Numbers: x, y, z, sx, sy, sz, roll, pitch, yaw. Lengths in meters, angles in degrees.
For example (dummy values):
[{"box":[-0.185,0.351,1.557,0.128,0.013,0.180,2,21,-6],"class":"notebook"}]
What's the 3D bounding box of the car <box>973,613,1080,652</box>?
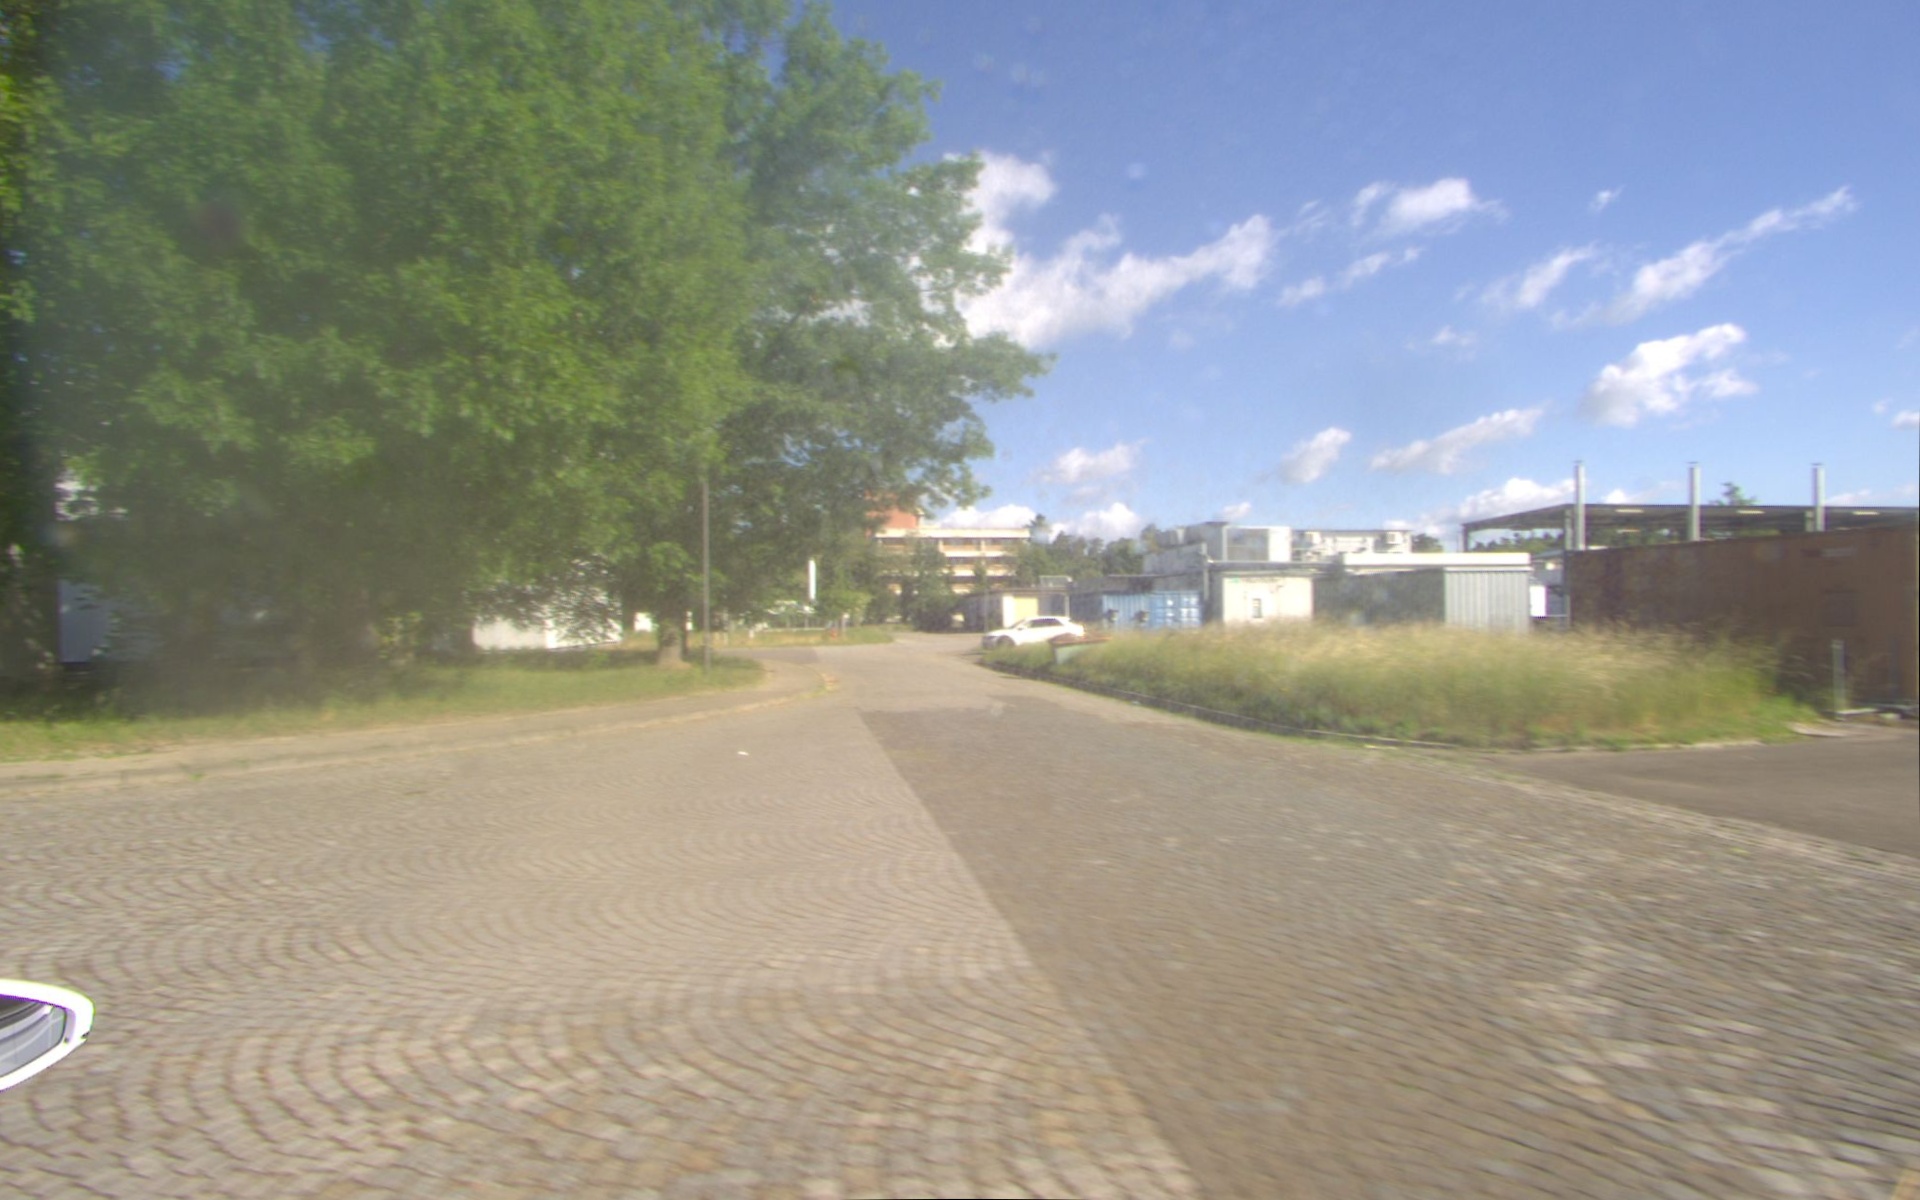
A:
[{"box":[2.989,1.453,45.353,4.516,1.699,1.874,0,0,-10],"class":"car"}]
